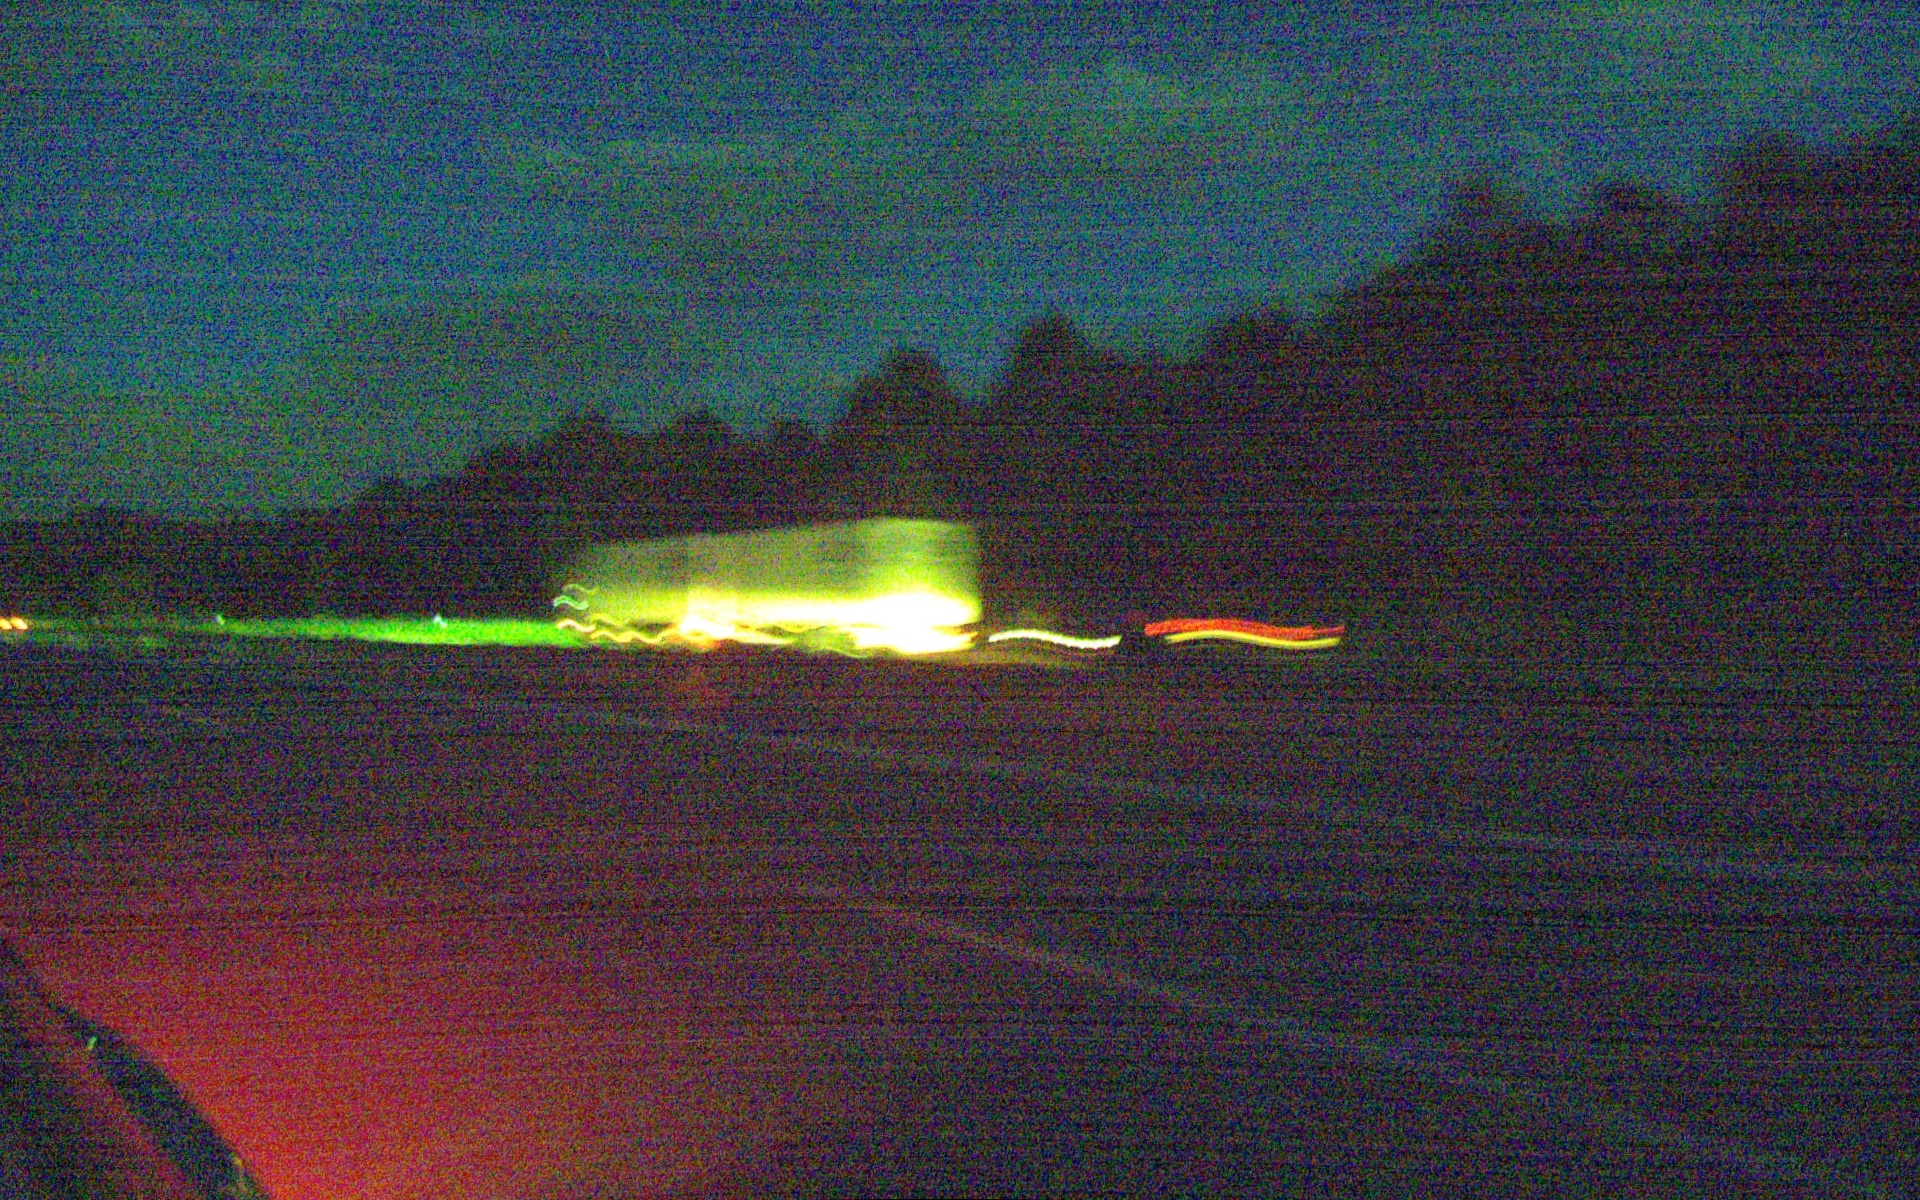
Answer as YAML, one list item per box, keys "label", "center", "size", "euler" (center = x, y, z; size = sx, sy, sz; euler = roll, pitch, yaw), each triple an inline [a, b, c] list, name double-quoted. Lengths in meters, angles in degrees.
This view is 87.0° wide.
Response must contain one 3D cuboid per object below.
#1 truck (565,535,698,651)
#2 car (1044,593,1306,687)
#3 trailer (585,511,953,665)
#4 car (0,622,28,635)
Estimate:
- label: "truck"
  center: [-12.978, -0.251, 39.772]
  size: [5.420, 4.231, 2.684]
  euler: [0, 0, 43]
- label: "car"
  center: [4.034, 0.694, 19.492]
  size: [4.583, 1.592, 1.972]
  euler: [0, 0, 42]
- label: "trailer"
  center: [-7.436, -0.299, 34.678]
  size: [17.251, 4.249, 2.659]
  euler: [0, 0, 43]
- label: "car"
  center: [-106.339, 3.178, 113.653]
  size: [4.395, 1.342, 1.974]
  euler: [0, 0, 40]
